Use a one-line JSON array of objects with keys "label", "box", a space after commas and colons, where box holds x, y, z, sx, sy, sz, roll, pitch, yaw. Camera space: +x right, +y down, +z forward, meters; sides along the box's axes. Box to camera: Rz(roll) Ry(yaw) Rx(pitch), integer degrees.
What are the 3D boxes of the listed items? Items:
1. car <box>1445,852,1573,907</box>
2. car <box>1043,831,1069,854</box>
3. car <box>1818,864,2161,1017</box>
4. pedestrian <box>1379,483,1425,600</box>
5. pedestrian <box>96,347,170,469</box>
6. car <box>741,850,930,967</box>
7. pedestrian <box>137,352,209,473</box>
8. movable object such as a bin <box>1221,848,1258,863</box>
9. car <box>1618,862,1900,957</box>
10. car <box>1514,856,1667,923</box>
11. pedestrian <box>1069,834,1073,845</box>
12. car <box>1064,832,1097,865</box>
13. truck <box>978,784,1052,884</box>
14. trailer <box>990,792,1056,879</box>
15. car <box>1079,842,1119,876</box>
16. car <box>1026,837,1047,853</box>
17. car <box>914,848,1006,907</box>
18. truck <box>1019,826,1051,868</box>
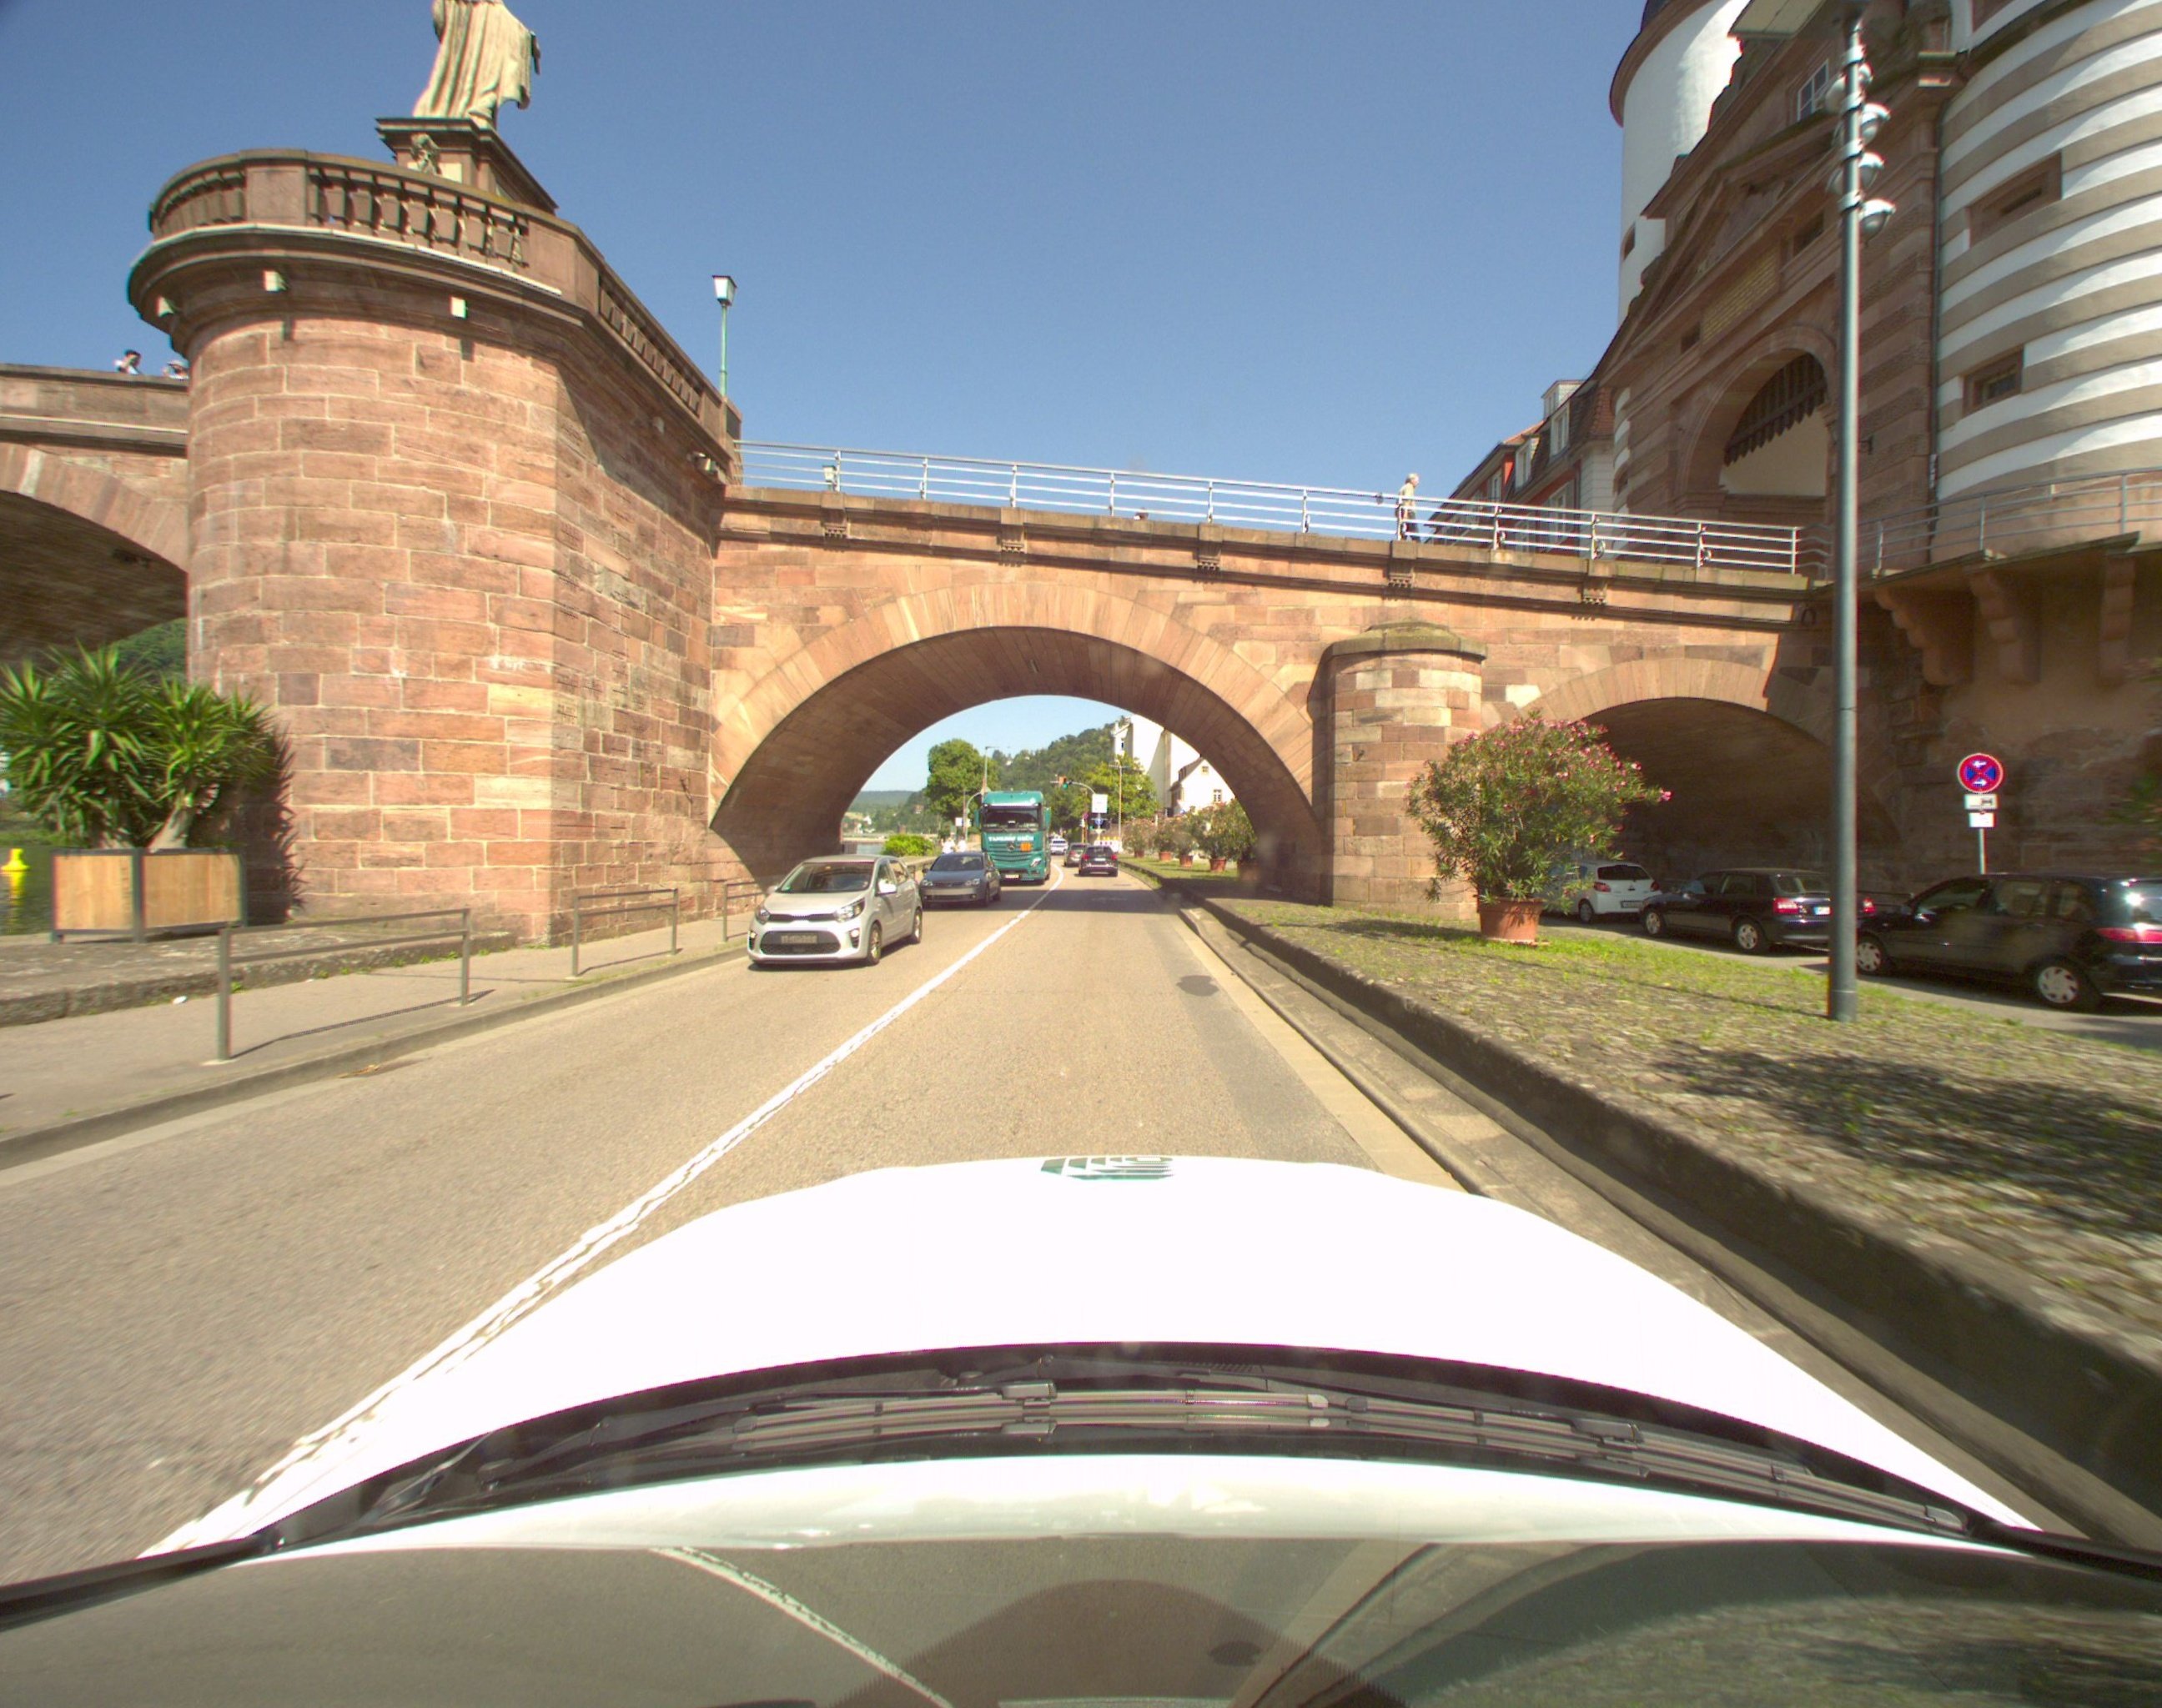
[{"label": "car", "box": [12.925, 0.706, 24.942, 1.884, 1.492, 4.422, 0, 0, 4]}, {"label": "car", "box": [-2.287, -1.036, 73.704, 1.992, 2.013, 3.989, 1, 0, -8]}, {"label": "car", "box": [11.746, 0.911, 10.216, 1.765, 1.502, 3.995, 0, 0, 8]}, {"label": "pedestrian", "box": [6.227, -6.035, 15.805, 0.621, 2.014, 0.695, 0, -1, 0]}, {"label": "pedestrian", "box": [-18.787, -8.821, 16.161, 0.623, 2.014, 0.694, 0, -1, -6]}, {"label": "car", "box": [-3.406, 0.680, 12.022, 1.529, 1.436, 3.730, -1, 0, 2]}, {"label": "pedestrian", "box": [-18.182, -8.819, 16.320, 0.623, 2.014, 0.694, 0, -1, -6]}, {"label": "movable object such as a bin", "box": [12.380, 0.139, 63.556, 2.972, 1.110, 1.243, -1, 2, -42]}, {"label": "car", "box": [12.267, 0.902, 15.206, 1.767, 1.436, 4.497, 1, 0, 4]}, {"label": "car", "box": [12.534, 0.809, 20.309, 1.548, 1.476, 3.668, 0, 0, 0]}, {"label": "pedestrian", "box": [-1.350, -2.007, 112.303, 0.455, 1.606, 0.579, 1, 0, -4]}, {"label": "car", "box": [-0.032, -0.316, 51.514, 1.987, 2.014, 3.999, 0, 0, 0]}, {"label": "truck", "box": [-2.602, -0.833, 34.101, 2.515, 3.748, 6.246, -1, 1, 0]}, {"label": "trailer", "box": [-2.628, -0.858, 40.121, 2.516, 3.643, 11.527, 0, 1, -1]}, {"label": "car", "box": [0.892, 0.207, 40.027, 1.850, 1.523, 4.002, 0, 1, 1]}, {"label": "car", "box": [-4.952, -0.992, 90.558, 1.993, 1.662, 3.988, 1, -1, -9]}, {"label": "car", "box": [-3.198, 0.575, 22.309, 1.716, 1.436, 4.402, -1, 0, 2]}, {"label": "truck", "box": [-4.001, -0.647, 69.279, 2.373, 3.261, 7.597, -2, 2, -5]}]
